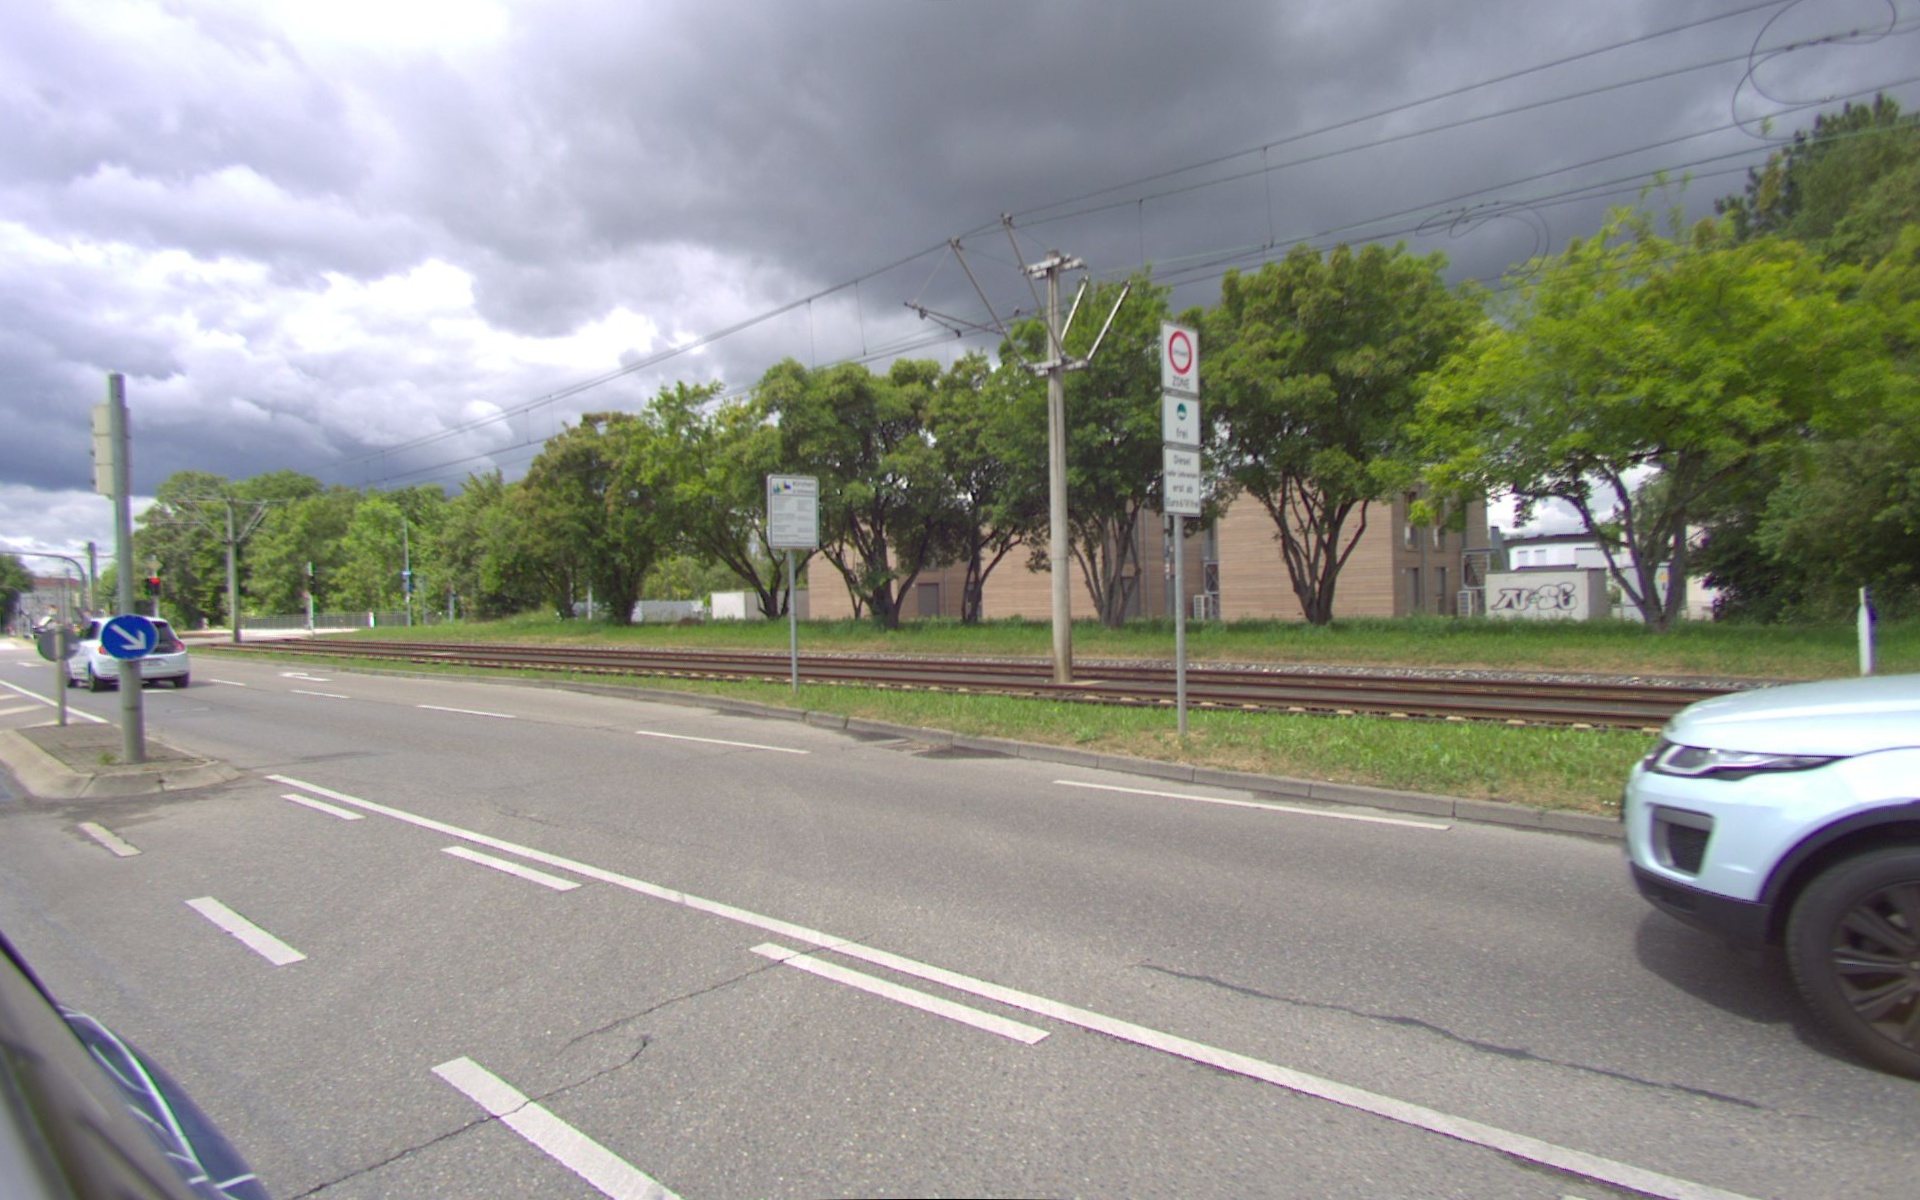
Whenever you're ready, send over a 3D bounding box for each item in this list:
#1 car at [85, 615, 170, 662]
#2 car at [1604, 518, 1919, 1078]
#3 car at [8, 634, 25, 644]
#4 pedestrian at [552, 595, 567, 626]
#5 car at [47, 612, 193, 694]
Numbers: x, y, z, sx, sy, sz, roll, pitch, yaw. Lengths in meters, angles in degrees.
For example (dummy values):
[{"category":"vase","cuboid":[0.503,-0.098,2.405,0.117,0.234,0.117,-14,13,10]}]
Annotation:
[{"category":"car","cuboid":[-32.534,1.453,39.523,4.522,1.672,1.972,-1,1,43]},{"category":"car","cuboid":[4.532,0.520,2.647,4.603,1.622,1.842,-1,1,40]},{"category":"car","cuboid":[-146.922,6.001,157.521,1.765,1.358,4.856,-3,1,-45]},{"category":"pedestrian","cuboid":[-22.858,0.569,57.744,0.486,1.736,0.799,-2,1,3]},{"category":"car","cuboid":[-18.456,1.100,22.163,4.260,1.624,1.711,-1,-2,40]}]
